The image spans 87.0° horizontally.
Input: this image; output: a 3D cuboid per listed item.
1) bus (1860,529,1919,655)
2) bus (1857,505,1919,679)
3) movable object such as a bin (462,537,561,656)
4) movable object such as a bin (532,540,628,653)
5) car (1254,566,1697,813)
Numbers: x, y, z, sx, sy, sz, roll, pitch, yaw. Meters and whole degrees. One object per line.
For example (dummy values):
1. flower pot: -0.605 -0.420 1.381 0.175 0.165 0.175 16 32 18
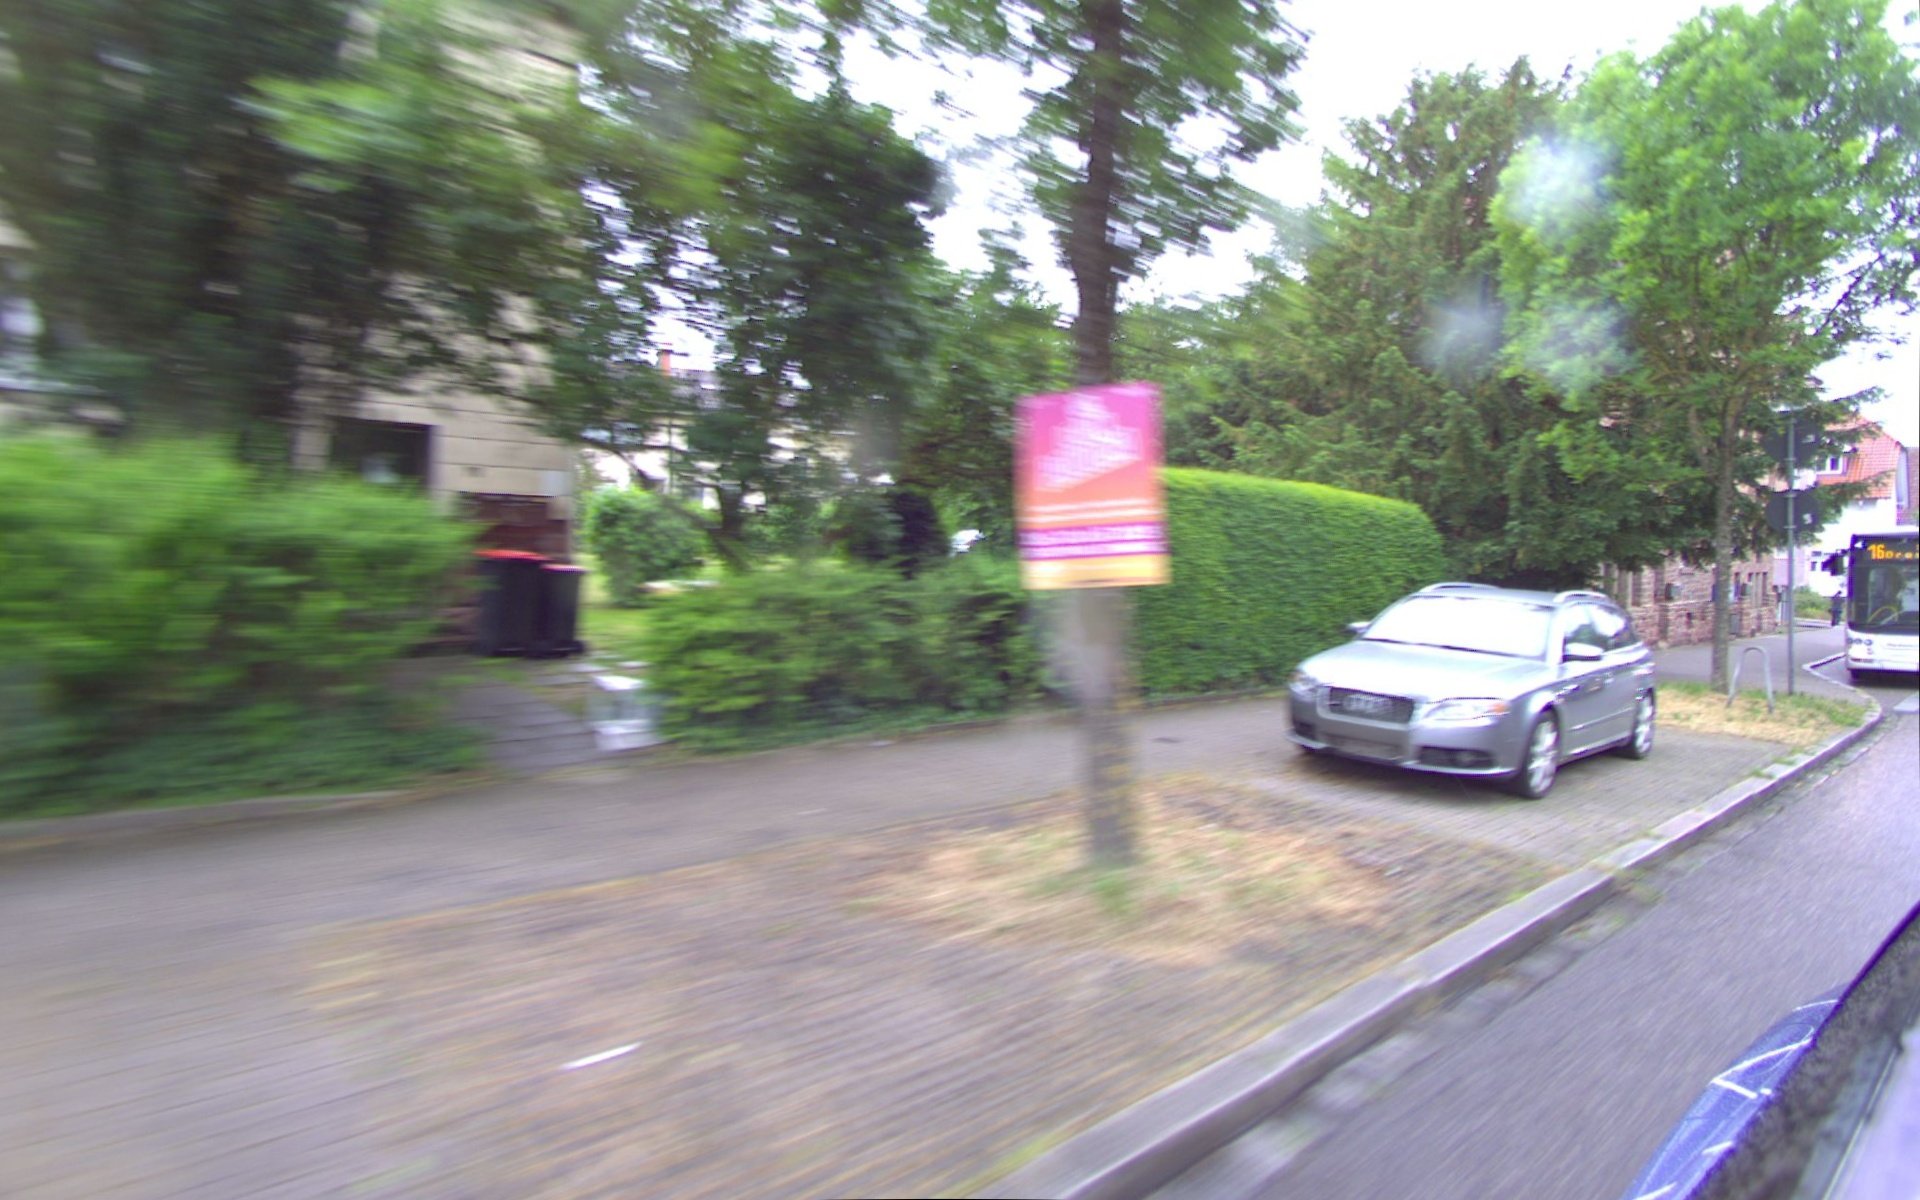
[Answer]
1. bus: 26.171 -0.183 26.610 8.406 2.996 2.561 0 1 -40
2. bus: 20.044 -0.135 20.605 2.555 2.996 9.306 2 1 42
3. movable object such as a bin: -4.529 -0.045 10.212 0.690 1.135 0.788 1 1 -43
4. movable object such as a bin: -4.027 -0.045 10.722 0.690 1.135 0.788 1 1 -43
5. car: 4.363 0.522 8.213 4.423 1.406 1.691 0 4 -42
